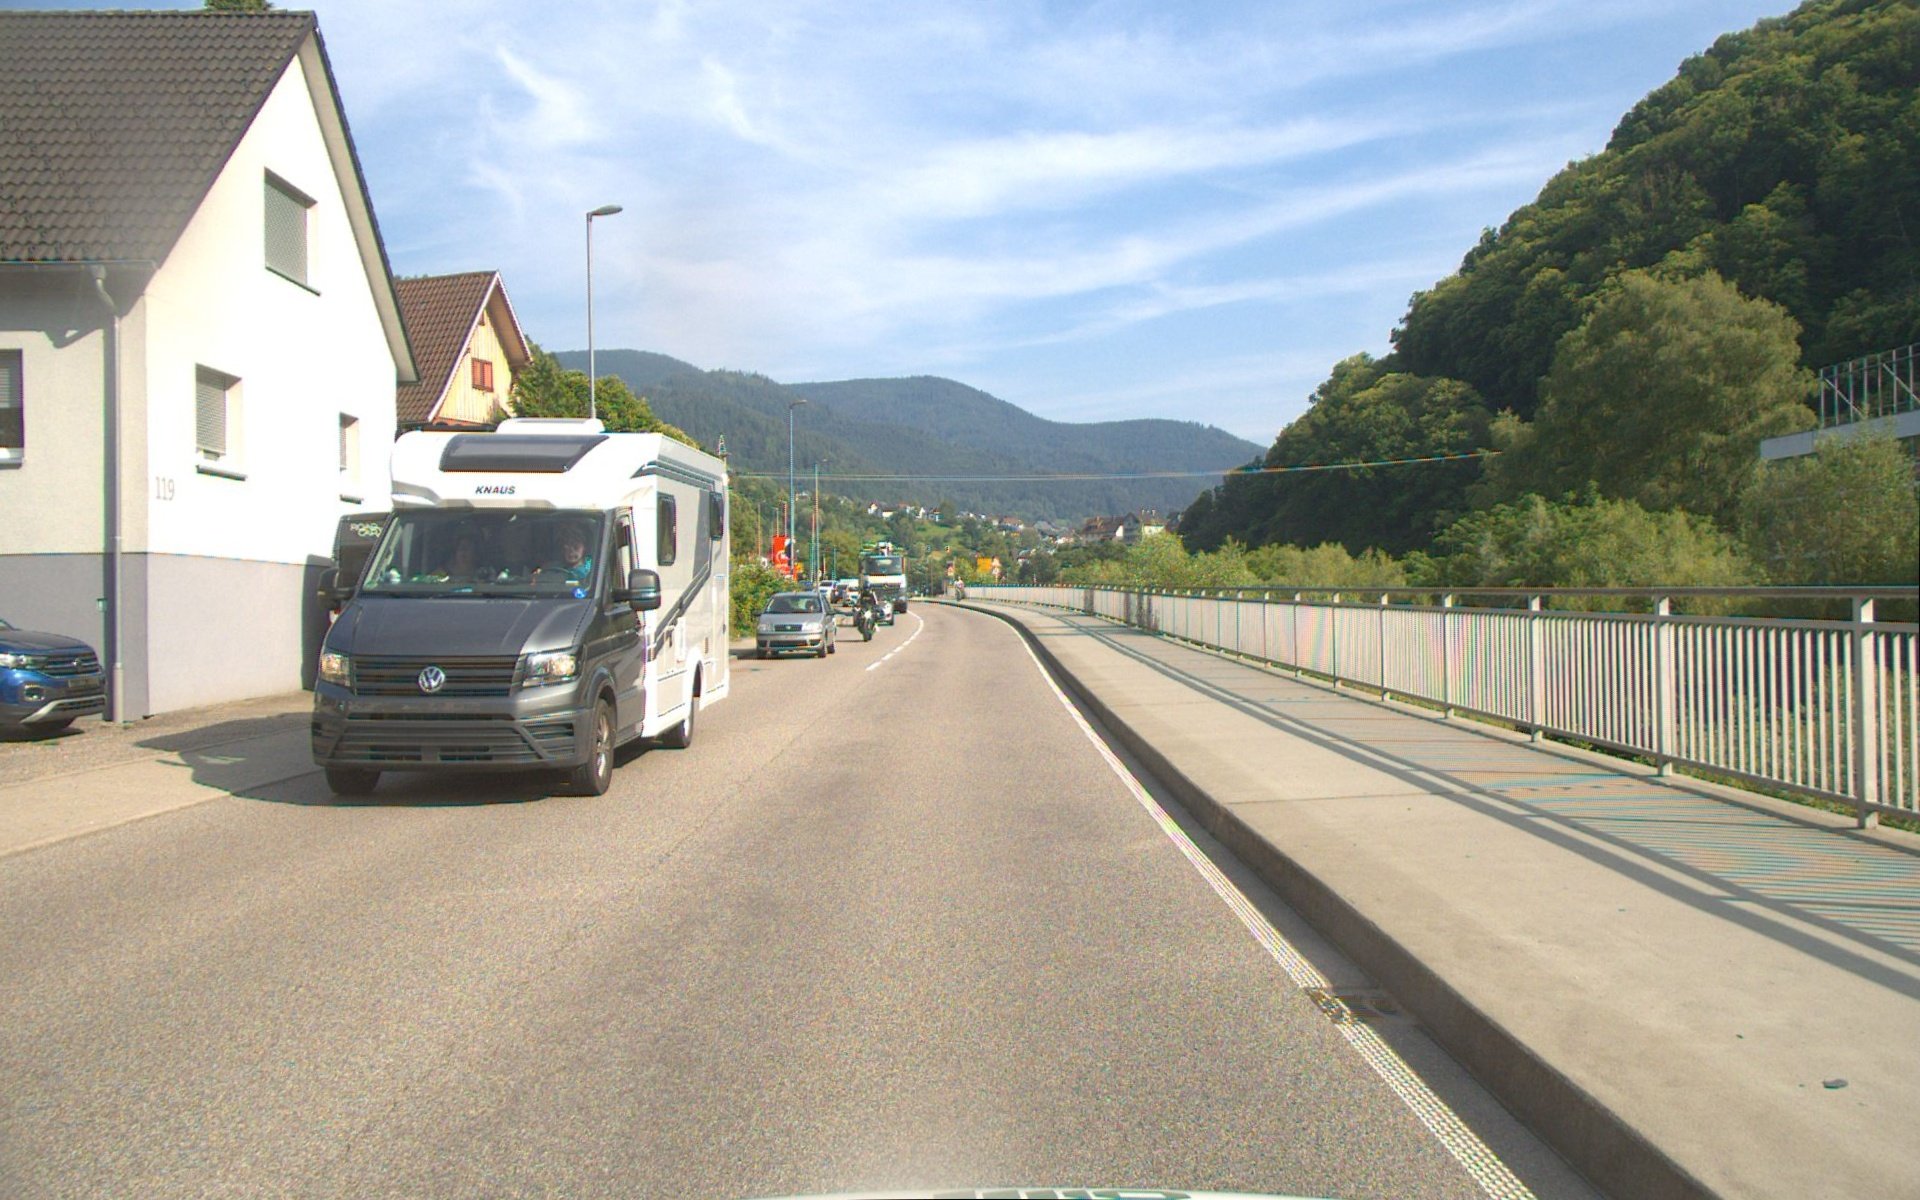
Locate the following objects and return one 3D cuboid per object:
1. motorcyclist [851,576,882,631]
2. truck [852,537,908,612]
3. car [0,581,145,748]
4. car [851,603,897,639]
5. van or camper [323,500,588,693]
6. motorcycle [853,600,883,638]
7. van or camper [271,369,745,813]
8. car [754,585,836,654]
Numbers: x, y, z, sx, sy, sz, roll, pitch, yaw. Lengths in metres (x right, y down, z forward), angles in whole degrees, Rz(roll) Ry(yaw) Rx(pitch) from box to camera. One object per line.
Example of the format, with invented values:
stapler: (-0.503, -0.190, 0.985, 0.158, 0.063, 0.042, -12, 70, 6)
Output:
motorcyclist: (-2.774, 0.100, 49.103, 0.808, 1.585, 0.628, -1, 0, 4)
truck: (-4.684, -1.413, 95.110, 2.528, 4.000, 11.292, -2, 0, -6)
car: (-10.753, 0.591, 16.940, 3.838, 1.577, 1.907, 1, 1, 0)
car: (-3.538, 0.852, 68.566, 1.678, 1.427, 4.000, -1, 0, 0)
van or camper: (-7.529, -0.068, 25.453, 2.103, 2.600, 5.902, -1, 0, 1)
motorcycle: (-2.702, 0.551, 48.961, 0.640, 1.086, 2.183, -1, 0, 3)
van or camper: (-3.510, -0.100, 14.706, 2.150, 2.990, 7.128, 0, 1, 1)
car: (-3.796, 0.426, 38.579, 1.597, 1.511, 3.999, 0, 0, -1)
